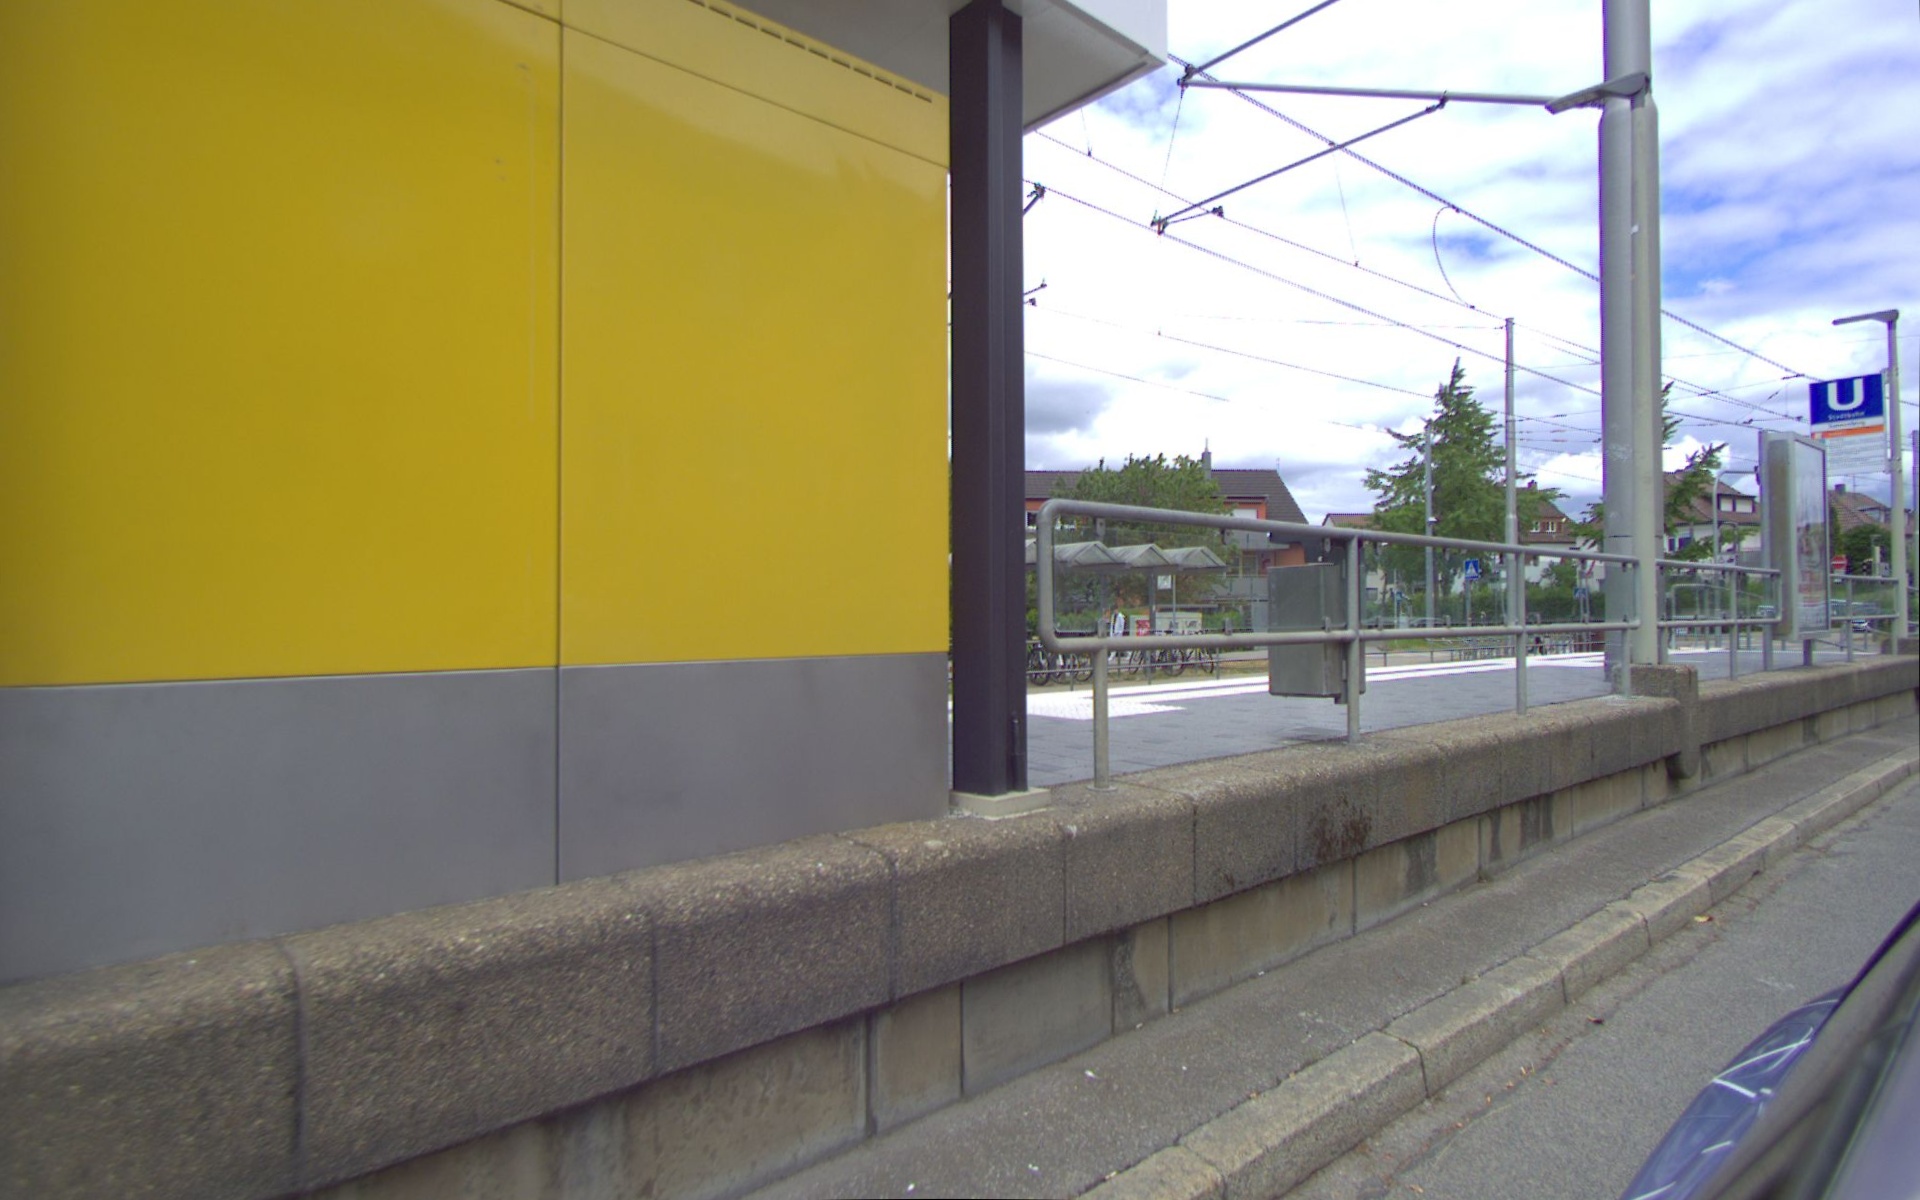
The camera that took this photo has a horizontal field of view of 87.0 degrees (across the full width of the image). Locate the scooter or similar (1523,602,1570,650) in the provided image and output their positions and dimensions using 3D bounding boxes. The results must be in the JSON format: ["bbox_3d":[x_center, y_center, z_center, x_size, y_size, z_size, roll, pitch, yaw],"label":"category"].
[{"bbox_3d":[16.629,0.732,28.713,0.480,1.333,1.052,2,-2,-31],"label":"scooter or similar"}]

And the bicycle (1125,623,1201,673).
[{"bbox_3d":[4.446,1.037,22.253,0.546,1.055,1.771,0,-1,-33],"label":"bicycle"}]

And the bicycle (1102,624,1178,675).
[{"bbox_3d":[3.857,1.047,21.865,0.546,1.055,1.771,0,-1,-33],"label":"bicycle"}]

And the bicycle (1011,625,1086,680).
[{"bbox_3d":[1.777,1.053,20.622,0.546,1.055,1.771,0,-1,-33],"label":"bicycle"}]

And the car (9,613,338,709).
[{"bbox_3d":[-15.050,1.104,19.743,4.739,1.657,1.824,0,-1,-24],"label":"car"}]

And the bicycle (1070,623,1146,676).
[{"bbox_3d":[3.115,1.024,21.465,0.546,1.055,1.771,0,-1,-33],"label":"bicycle"}]

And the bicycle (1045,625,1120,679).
[{"bbox_3d":[2.534,1.053,21.078,0.546,1.055,1.771,0,-1,-33],"label":"bicycle"}]

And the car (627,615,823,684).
[{"bbox_3d":[-5.696,1.147,24.604,4.332,1.505,1.823,0,-1,-27],"label":"car"}]

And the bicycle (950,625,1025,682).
[{"bbox_3d":[0.514,1.017,19.714,0.546,1.055,1.771,0,-1,-33],"label":"bicycle"}]

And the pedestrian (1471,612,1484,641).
[{"bbox_3d":[30.272,1.548,59.205,0.593,1.641,0.671,-4,-2,28],"label":"pedestrian"}]

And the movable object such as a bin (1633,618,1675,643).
[{"bbox_3d":[24.162,1.065,35.248,1.072,0.835,0.580,-1,-1,-7],"label":"movable object such as a bin"}]

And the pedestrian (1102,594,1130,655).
[{"bbox_3d":[5.066,0.794,32.778,0.621,1.939,0.821,-1,-2,33],"label":"pedestrian"}]

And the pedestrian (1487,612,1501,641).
[{"bbox_3d":[30.664,1.513,58.090,0.593,1.641,0.671,-4,-2,28],"label":"pedestrian"}]

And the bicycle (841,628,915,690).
[{"bbox_3d":[-1.507,1.040,18.312,0.546,1.055,1.771,0,-1,-33],"label":"bicycle"}]

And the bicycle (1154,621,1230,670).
[{"bbox_3d":[5.184,1.008,22.742,0.546,1.055,1.771,0,-1,-33],"label":"bicycle"}]

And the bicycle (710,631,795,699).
[{"bbox_3d":[-3.443,1.045,16.689,0.547,1.055,1.767,0,-1,-42],"label":"bicycle"}]

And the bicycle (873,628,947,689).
[{"bbox_3d":[-0.948,1.048,18.662,0.546,1.055,1.771,0,-1,-33],"label":"bicycle"}]
